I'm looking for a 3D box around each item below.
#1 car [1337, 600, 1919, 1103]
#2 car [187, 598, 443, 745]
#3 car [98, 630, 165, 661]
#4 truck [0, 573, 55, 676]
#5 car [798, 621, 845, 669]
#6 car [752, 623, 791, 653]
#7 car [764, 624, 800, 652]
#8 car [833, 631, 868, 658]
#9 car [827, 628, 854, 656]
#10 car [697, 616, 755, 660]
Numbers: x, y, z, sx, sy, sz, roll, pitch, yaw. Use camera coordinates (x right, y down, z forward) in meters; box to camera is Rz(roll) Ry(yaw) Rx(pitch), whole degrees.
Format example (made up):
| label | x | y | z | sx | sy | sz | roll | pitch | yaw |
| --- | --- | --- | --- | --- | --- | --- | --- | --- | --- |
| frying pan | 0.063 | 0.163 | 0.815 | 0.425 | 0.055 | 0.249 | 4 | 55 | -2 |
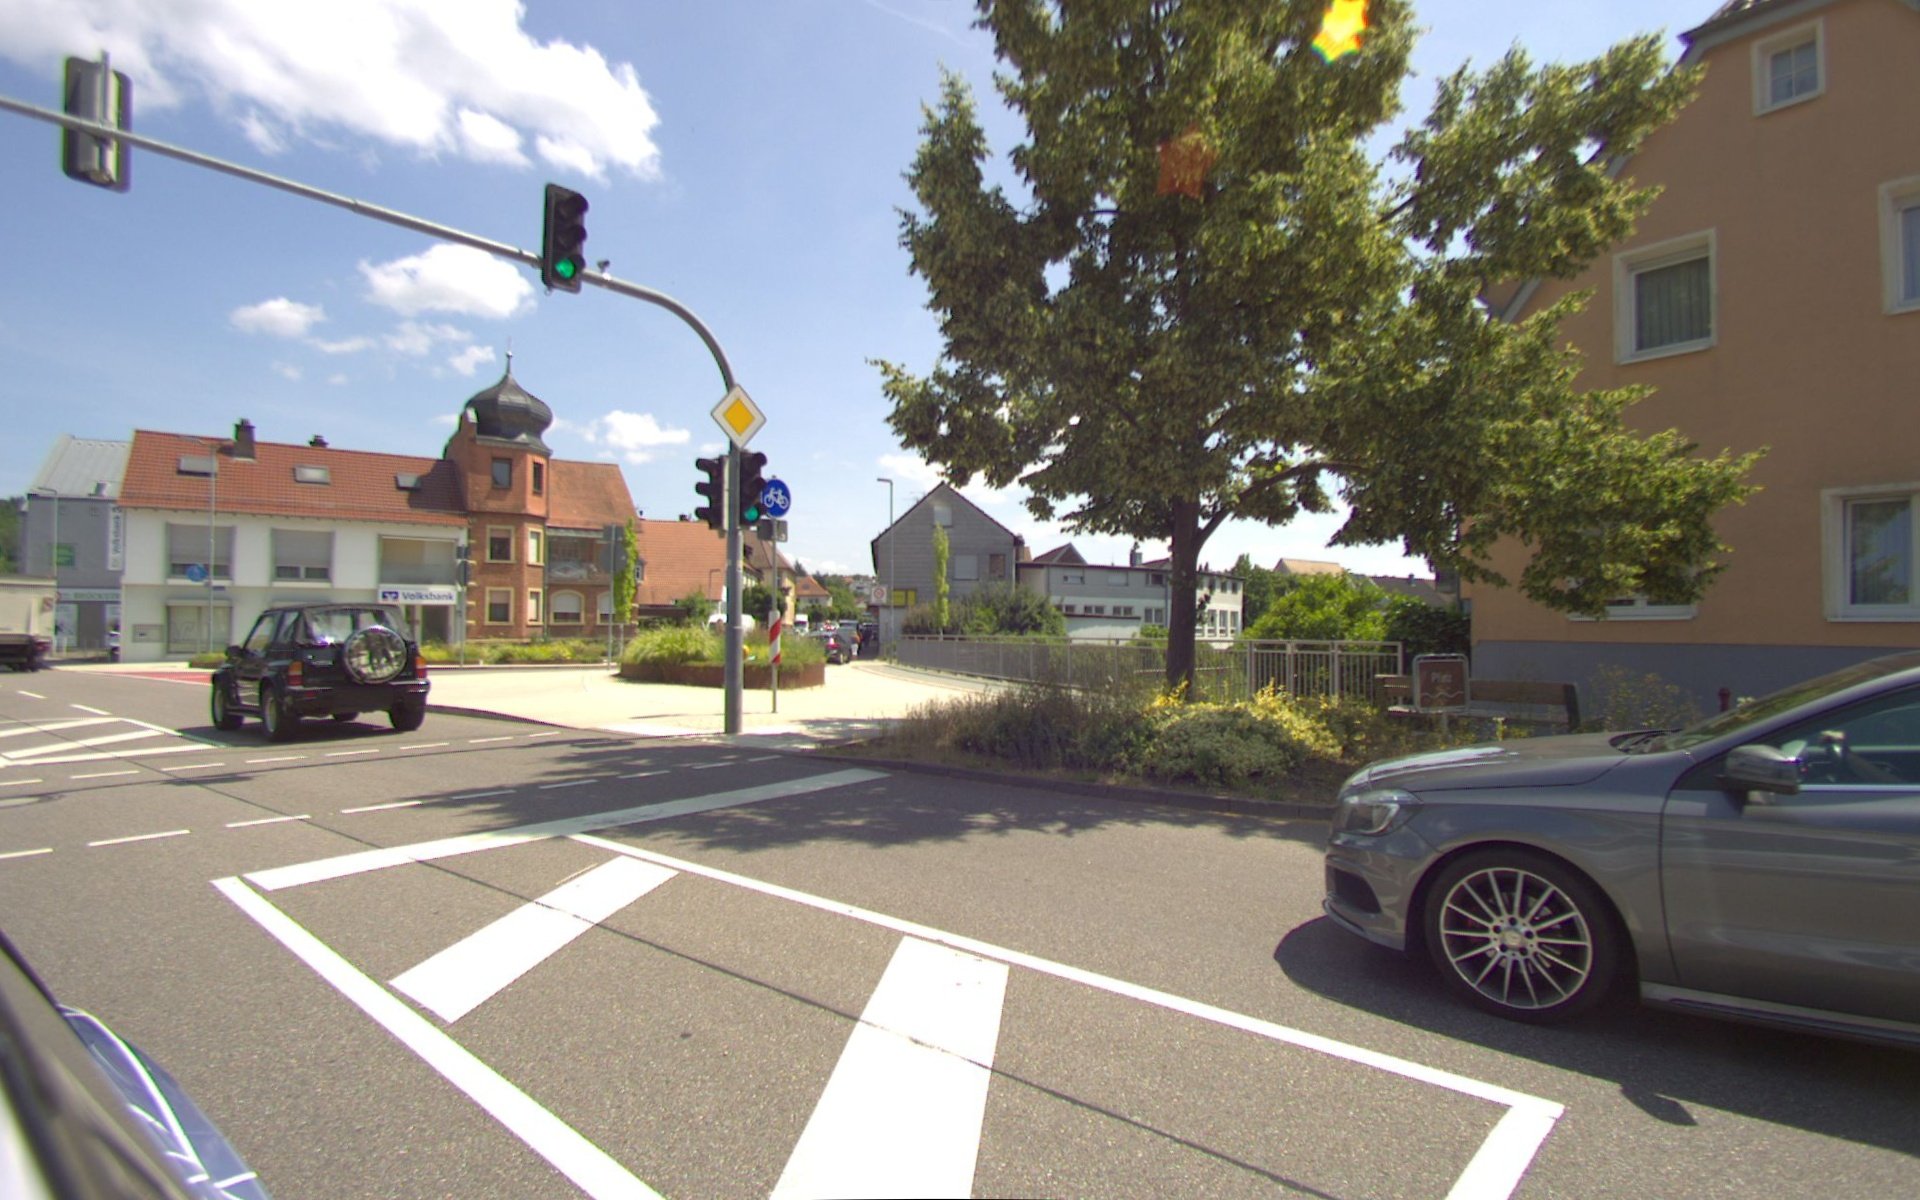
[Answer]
| label | x | y | z | sx | sy | sz | roll | pitch | yaw |
| --- | --- | --- | --- | --- | --- | --- | --- | --- | --- |
| car | 3.698 | 0.763 | 3.370 | 4.215 | 1.453 | 1.843 | -1 | -3 | 41 |
| car | -8.514 | 0.863 | 13.276 | 3.664 | 1.664 | 1.722 | -1 | -2 | 38 |
| car | -44.199 | 2.441 | 54.086 | 1.965 | 1.587 | 4.266 | 2 | -3 | -29 |
| truck | -32.633 | 0.793 | 33.900 | 6.035 | 3.260 | 2.476 | -1 | -3 | 40 |
| car | -6.258 | 2.019 | 45.459 | 1.968 | 2.029 | 4.007 | 1 | -2 | -9 |
| car | -15.406 | 3.121 | 82.880 | 2.143 | 2.363 | 5.110 | 1 | -2 | 0 |
| car | -15.562 | 3.343 | 88.834 | 2.143 | 2.363 | 5.110 | 1 | -2 | 0 |
| car | -7.407 | 2.964 | 68.149 | 2.036 | 1.741 | 4.008 | 2 | -2 | -9 |
| car | -8.613 | 3.037 | 73.114 | 1.894 | 1.892 | 4.005 | 1 | -2 | -6 |
| car | -13.462 | 2.186 | 58.562 | 2.143 | 2.363 | 5.110 | 1 | -2 | 0 |
